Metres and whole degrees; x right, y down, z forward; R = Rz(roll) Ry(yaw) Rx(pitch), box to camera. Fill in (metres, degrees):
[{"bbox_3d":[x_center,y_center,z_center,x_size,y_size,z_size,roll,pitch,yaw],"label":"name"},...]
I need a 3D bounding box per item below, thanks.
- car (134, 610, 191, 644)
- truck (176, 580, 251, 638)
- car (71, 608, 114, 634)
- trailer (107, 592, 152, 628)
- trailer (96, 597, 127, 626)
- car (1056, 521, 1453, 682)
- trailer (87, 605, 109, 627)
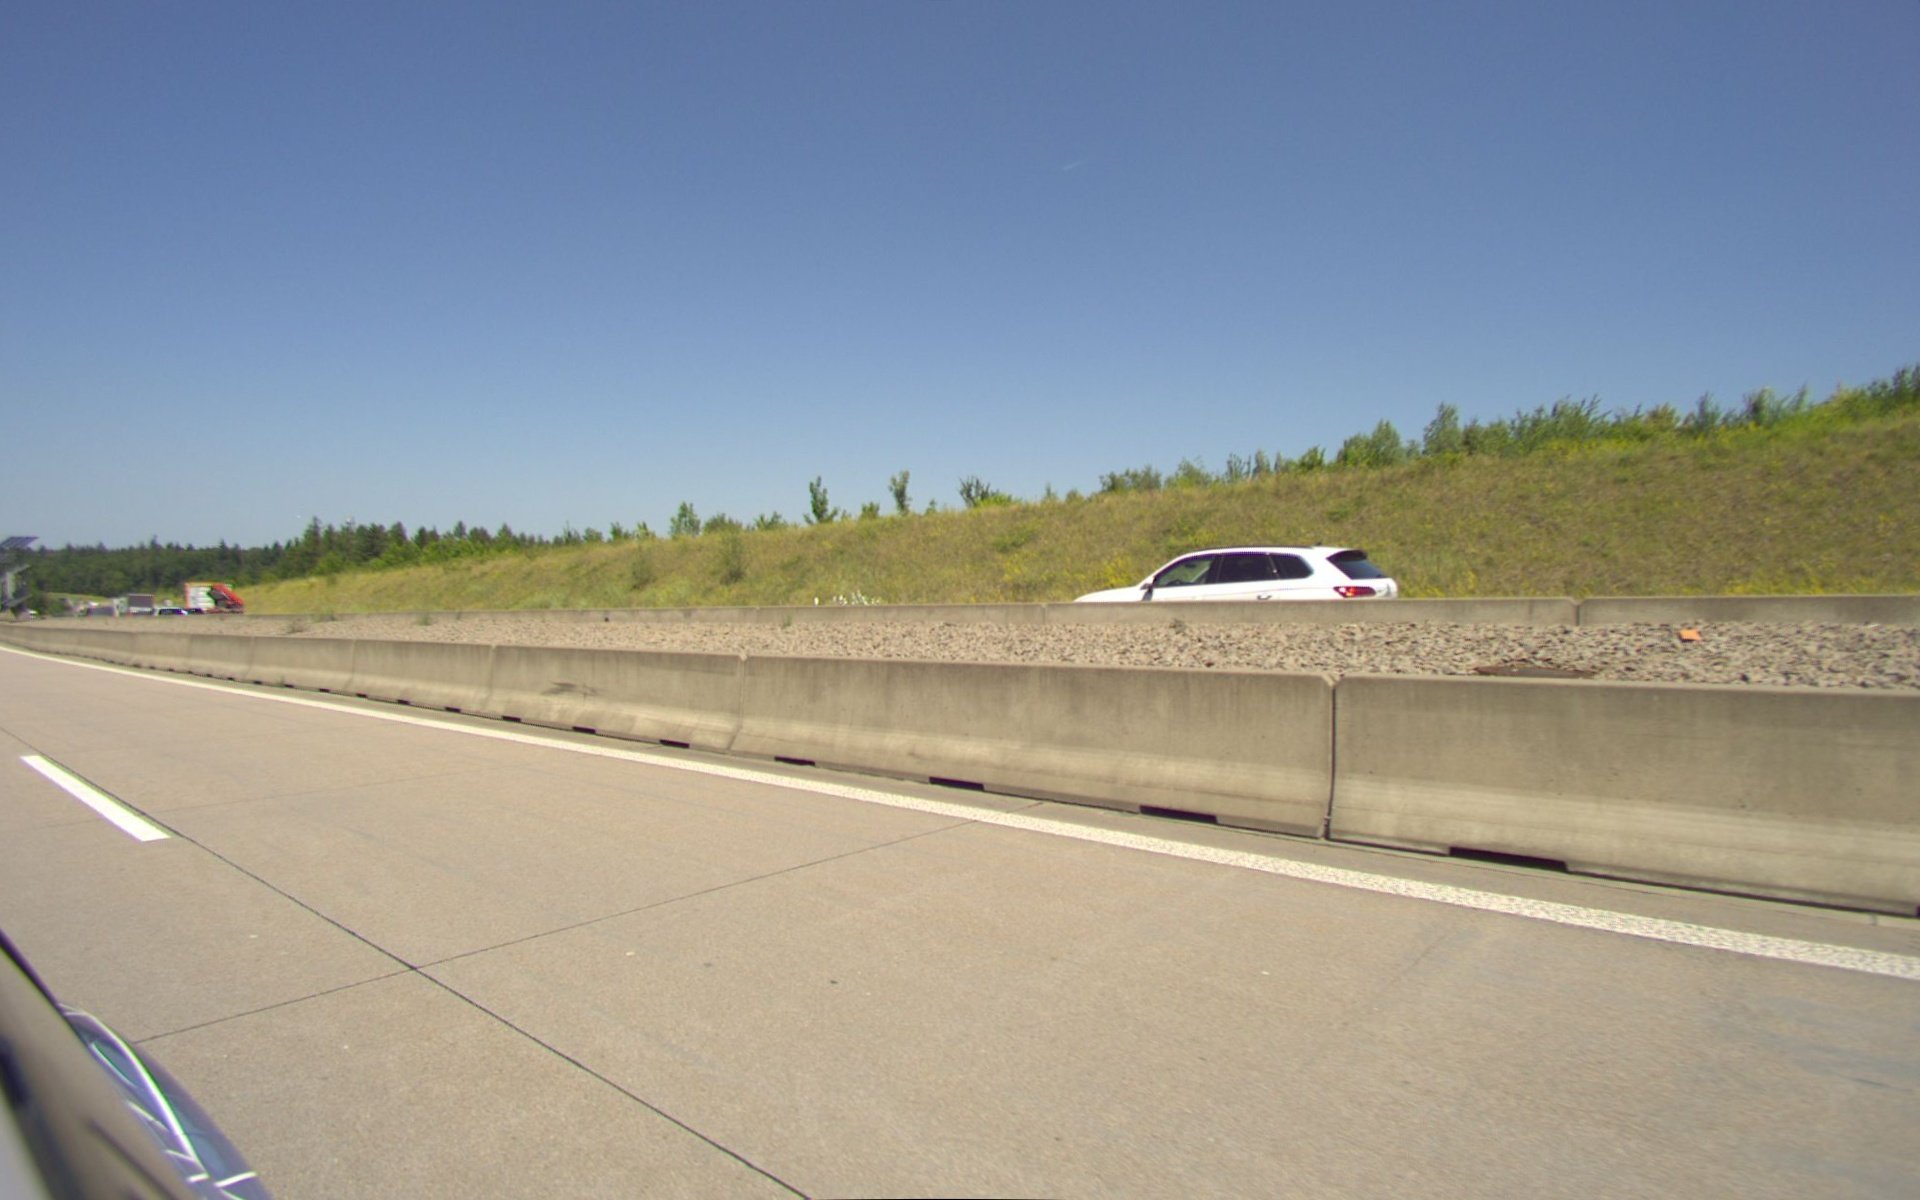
[{"bbox_3d":[-49.543,1.640,62.848,4.457,2.029,1.973,-1,-2,41],"label":"car"},{"bbox_3d":[-62.356,0.779,84.350,11.256,4.548,2.882,-1,-1,42],"label":"truck"},{"bbox_3d":[-70.974,1.700,82.755,4.457,2.029,1.973,-1,-2,41],"label":"car"},{"bbox_3d":[-105.316,1.292,128.194,13.195,4.200,2.900,-1,1,45],"label":"trailer"},{"bbox_3d":[-133.724,1.831,159.387,2.899,4.200,14.403,-2,1,-43],"label":"trailer"},{"bbox_3d":[3.964,0.032,14.228,4.966,1.887,1.973,-1,0,42],"label":"car"},{"bbox_3d":[-173.410,3.093,203.677,2.896,4.200,14.414,-2,1,-39],"label":"trailer"}]
